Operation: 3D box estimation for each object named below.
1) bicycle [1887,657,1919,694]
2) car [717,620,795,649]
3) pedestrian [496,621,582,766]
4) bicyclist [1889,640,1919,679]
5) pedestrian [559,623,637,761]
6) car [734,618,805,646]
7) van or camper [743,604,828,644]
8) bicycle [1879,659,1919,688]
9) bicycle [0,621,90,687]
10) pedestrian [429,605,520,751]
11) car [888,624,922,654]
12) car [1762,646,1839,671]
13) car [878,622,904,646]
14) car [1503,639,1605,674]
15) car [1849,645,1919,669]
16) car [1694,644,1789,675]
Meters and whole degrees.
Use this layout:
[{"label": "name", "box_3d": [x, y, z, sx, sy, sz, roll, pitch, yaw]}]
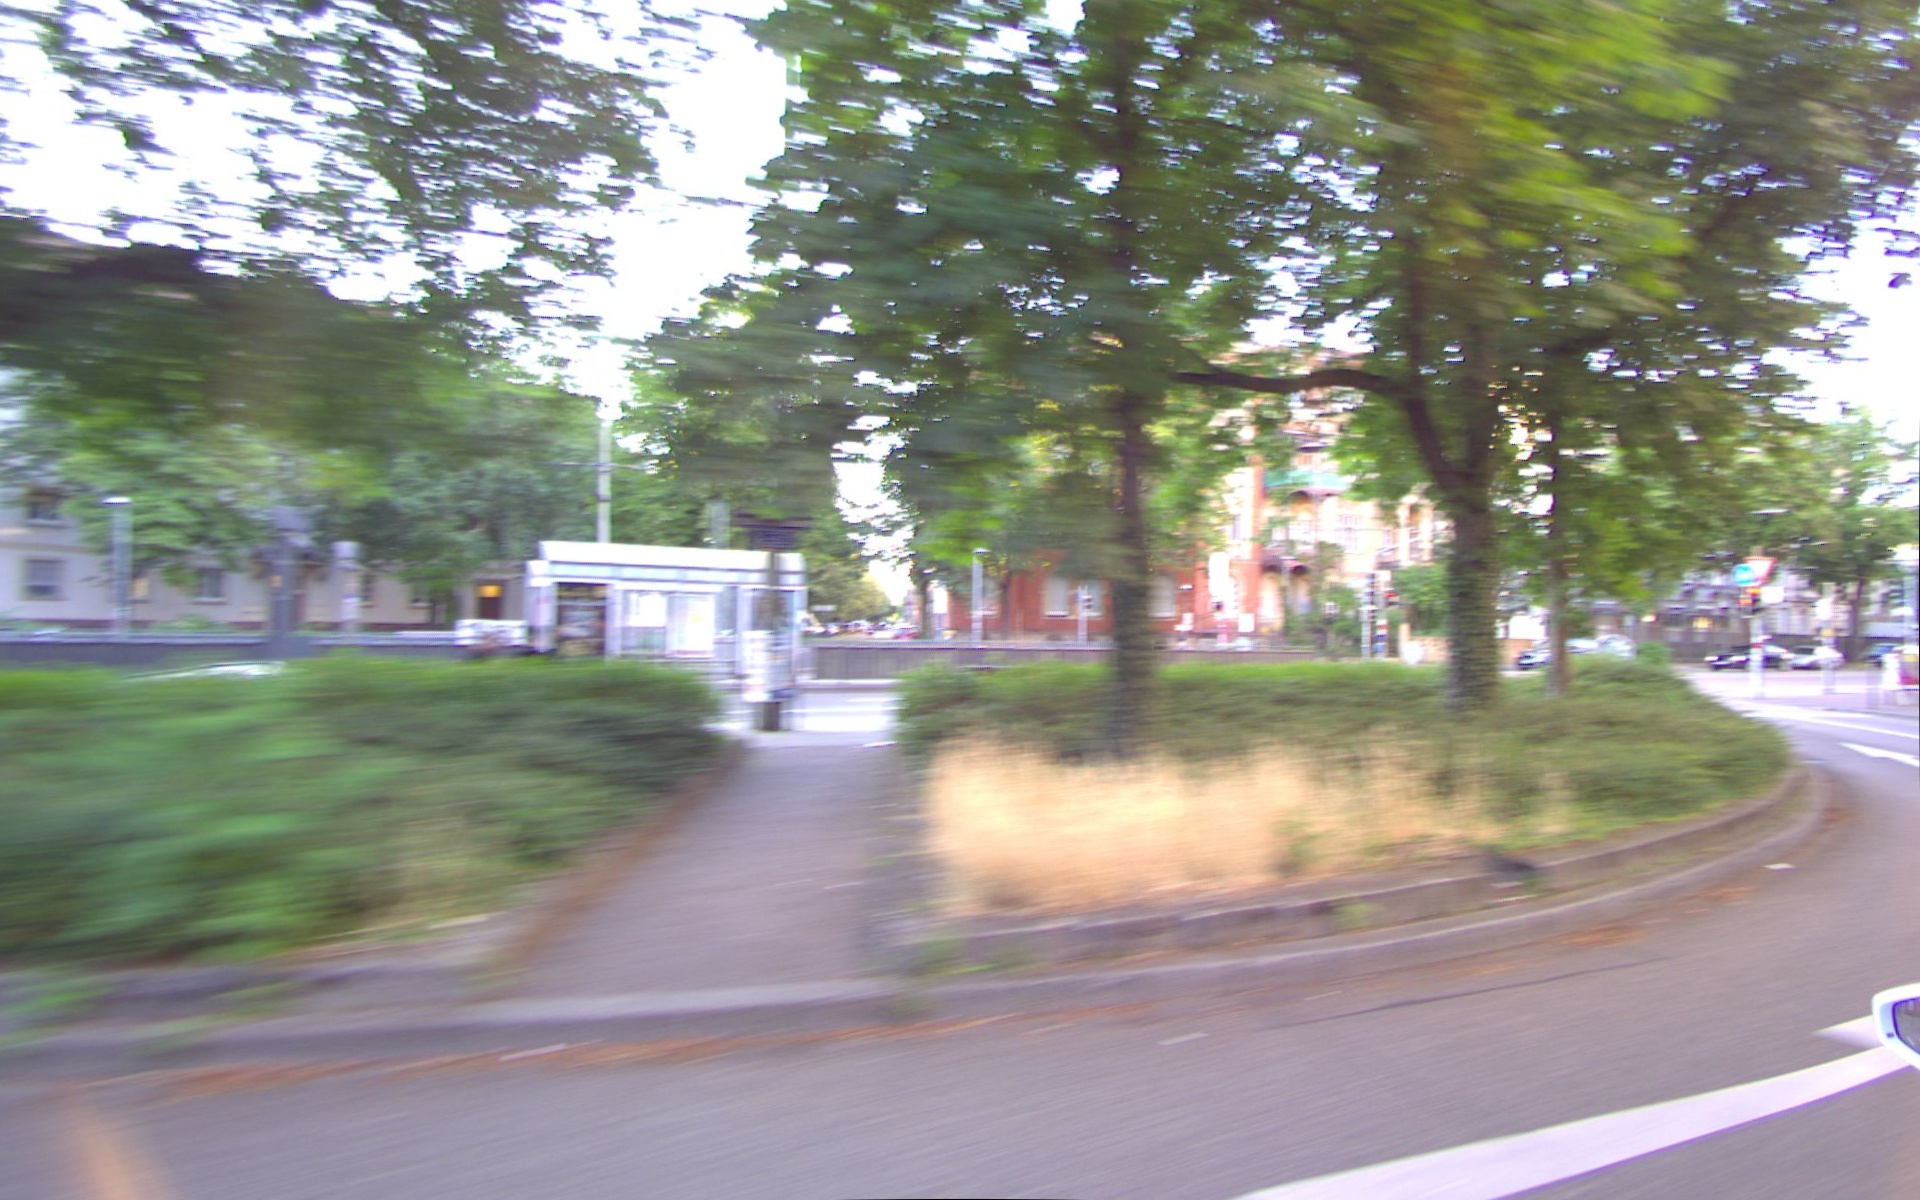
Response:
[{"label": "bicycle", "box_3d": [30.680, 2.404, 31.778, 1.844, 1.145, 0.730, 0, -2, 30]}, {"label": "car", "box_3d": [-13.631, 2.298, 67.384, 4.875, 1.726, 1.998, 3, -2, -8]}, {"label": "pedestrian", "box_3d": [-4.398, 0.956, 10.525, 0.606, 1.450, 0.655, 1, -1, -2]}, {"label": "bicyclist", "box_3d": [36.394, 2.281, 38.556, 0.848, 1.430, 0.699, 1, -1, -4]}, {"label": "pedestrian", "box_3d": [-3.963, 0.986, 11.031, 0.606, 1.450, 0.655, 1, -1, -2]}, {"label": "car", "box_3d": [-13.611, 2.301, 72.000, 4.875, 1.726, 1.998, 3, -2, -8]}, {"label": "van or camper", "box_3d": [-15.564, 2.161, 90.044, 7.254, 3.123, 2.670, 3, -1, -8]}, {"label": "bicycle", "box_3d": [36.421, 2.821, 38.546, 1.759, 1.069, 0.699, 1, -1, -4]}, {"label": "bicycle", "box_3d": [-15.619, 0.890, 16.558, 1.830, 1.065, 0.543, 2, -1, -25]}, {"label": "pedestrian", "box_3d": [-5.029, 0.792, 10.446, 0.606, 1.450, 0.655, 1, -1, -2]}, {"label": "car", "box_3d": [-3.558, 2.447, 64.034, 1.962, 1.726, 4.717, 3, -2, -4]}, {"label": "car", "box_3d": [52.057, 3.600, 62.185, 4.571, 1.445, 1.997, 2, -2, -26]}, {"label": "car", "box_3d": [-5.518, 2.711, 80.257, 1.962, 1.726, 4.717, 3, -2, -4]}, {"label": "car", "box_3d": [28.112, 2.674, 47.560, 4.355, 1.530, 1.941, 2, -2, -22]}, {"label": "car", "box_3d": [61.249, 3.758, 66.556, 4.107, 1.502, 1.941, 2, -2, -22]}, {"label": "car", "box_3d": [41.267, 3.114, 53.017, 4.564, 1.530, 1.941, 2, -2, -22]}]
